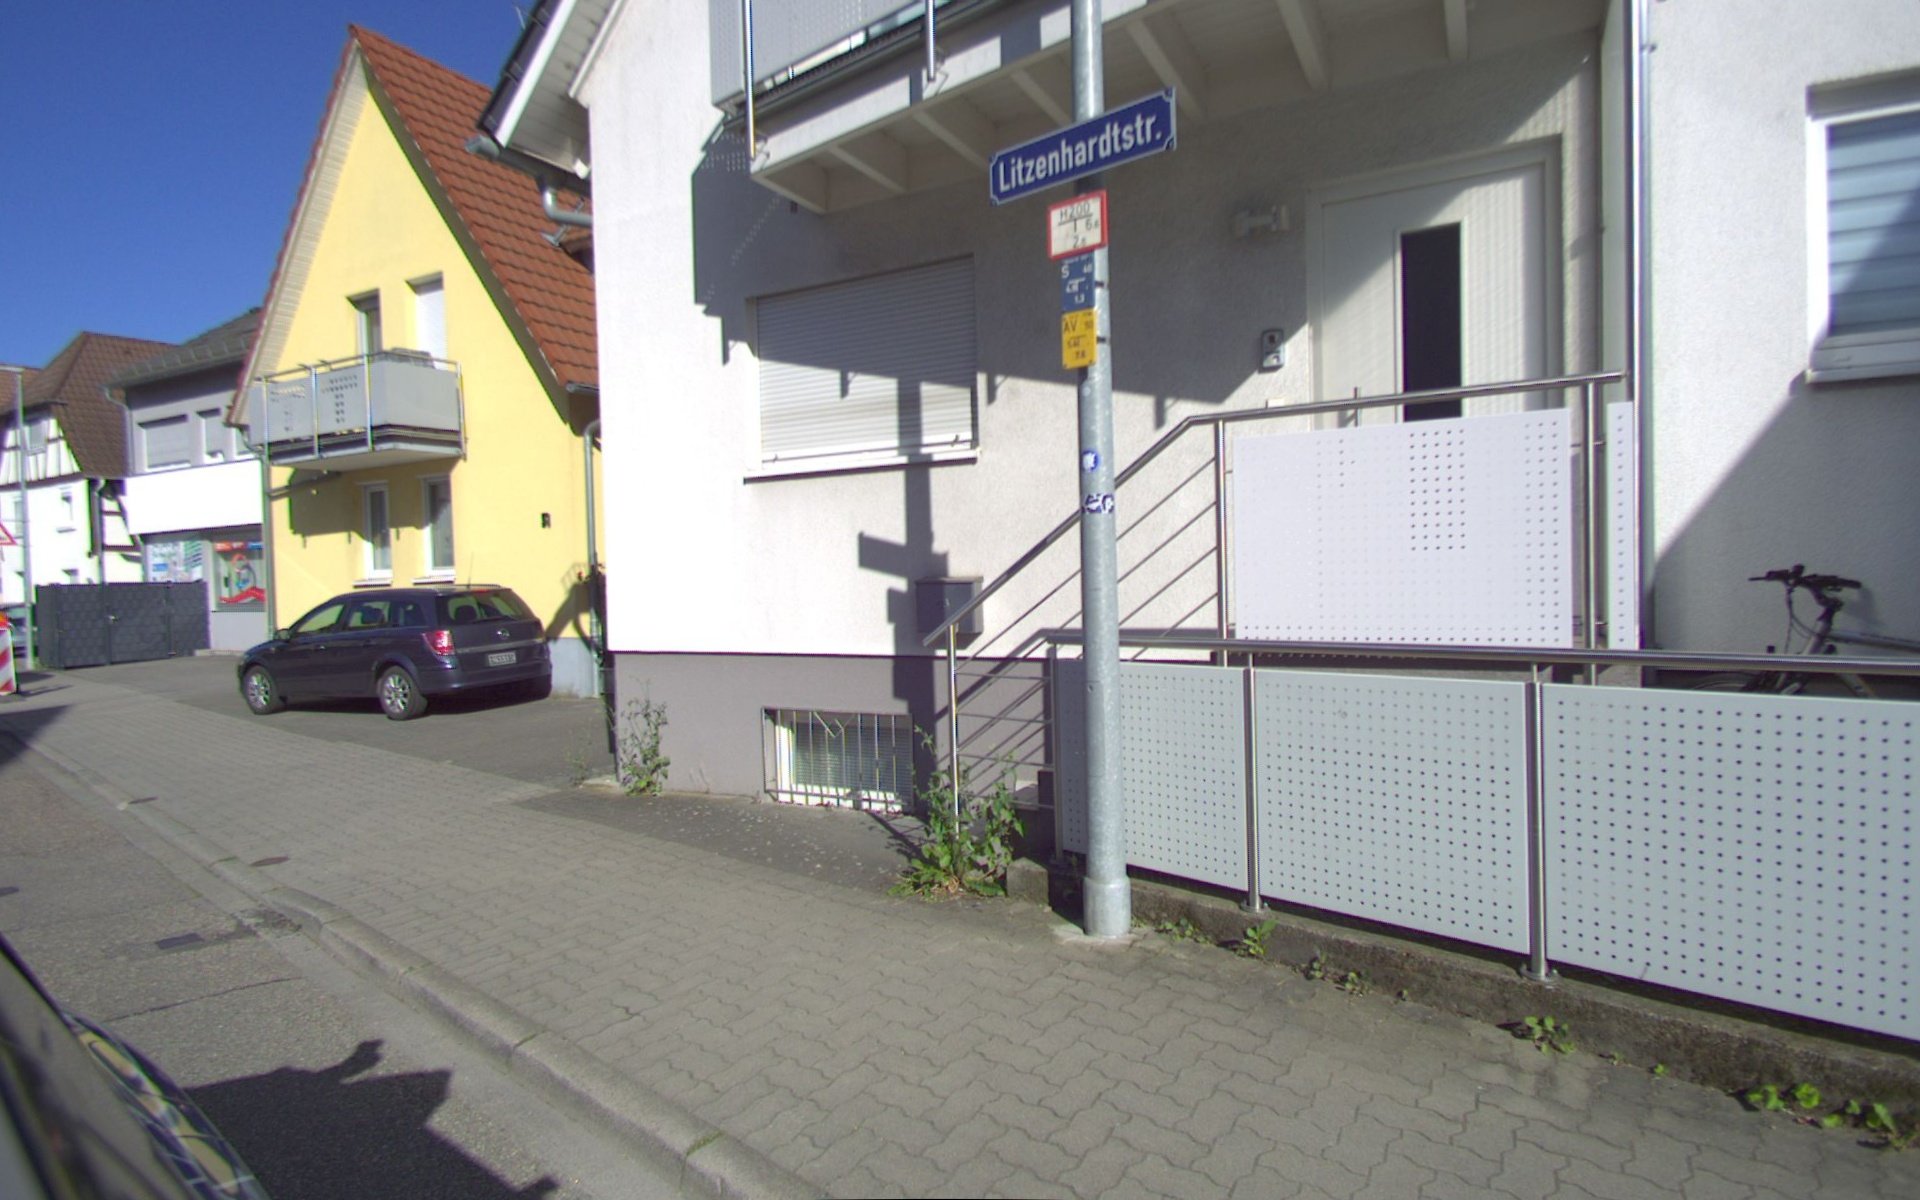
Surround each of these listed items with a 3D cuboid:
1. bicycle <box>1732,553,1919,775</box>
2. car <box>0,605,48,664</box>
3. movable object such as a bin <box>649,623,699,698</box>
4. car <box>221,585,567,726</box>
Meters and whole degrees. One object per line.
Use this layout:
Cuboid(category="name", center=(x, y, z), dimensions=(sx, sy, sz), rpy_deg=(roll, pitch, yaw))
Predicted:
Cuboid(category="bicycle", center=(3.538, 0.197, 3.361), dimensions=(1.497, 0.722, 0.485), rpy_deg=(-1, 2, 33))
Cuboid(category="car", center=(-28.213, 1.012, 29.350), dimensions=(4.101, 1.598, 1.629), rpy_deg=(-1, 1, 34))
Cuboid(category="movable object such as a bin", center=(-3.674, 0.769, 13.002), dimensions=(0.491, 0.937, 0.375), rpy_deg=(-1, -1, 31))
Cuboid(category="car", center=(-7.063, 0.638, 12.573), dimensions=(4.155, 1.456, 1.679), rpy_deg=(-2, 2, 27))
